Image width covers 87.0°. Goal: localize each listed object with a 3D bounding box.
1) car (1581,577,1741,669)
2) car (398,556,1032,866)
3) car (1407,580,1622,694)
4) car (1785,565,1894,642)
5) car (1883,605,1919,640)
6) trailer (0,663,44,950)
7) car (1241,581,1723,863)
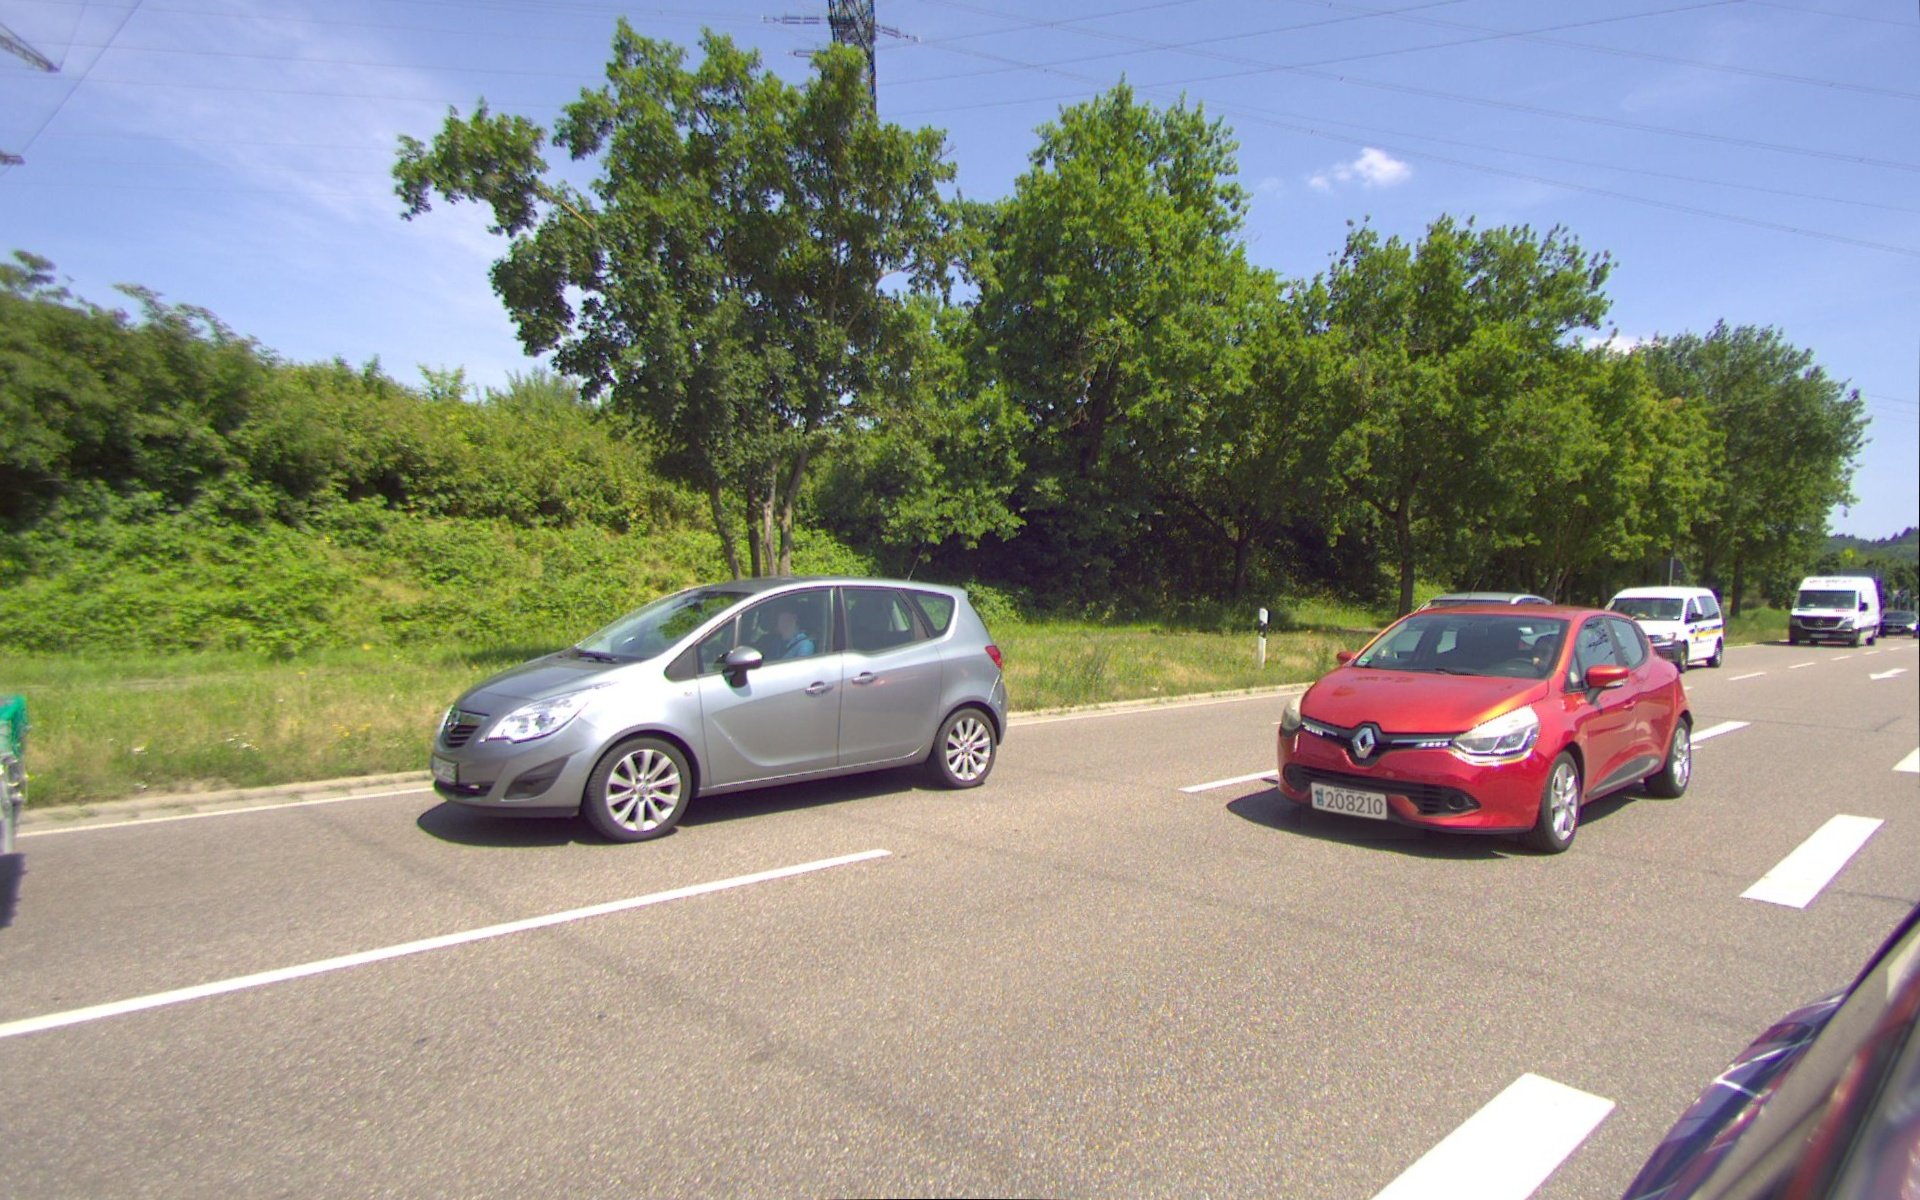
[{"bbox_3d":[15.642,0.456,22.460,4.950,1.823,1.807,0,0,-42],"label":"car"},{"bbox_3d":[-1.560,0.563,7.296,4.092,1.615,1.768,0,1,-41],"label":"car"},{"bbox_3d":[9.107,0.528,16.482,4.197,1.614,1.746,0,0,-41],"label":"car"},{"bbox_3d":[33.151,0.114,38.043,6.897,2.640,2.230,0,0,-42],"label":"car"},{"bbox_3d":[49.747,1.163,52.972,3.933,1.705,1.875,-1,1,-43],"label":"car"},{"bbox_3d":[-5.483,0.846,3.580,3.265,1.019,1.709,0,0,-41],"label":"trailer"},{"bbox_3d":[3.916,0.639,7.297,3.994,1.480,1.746,0,0,-41],"label":"car"}]
